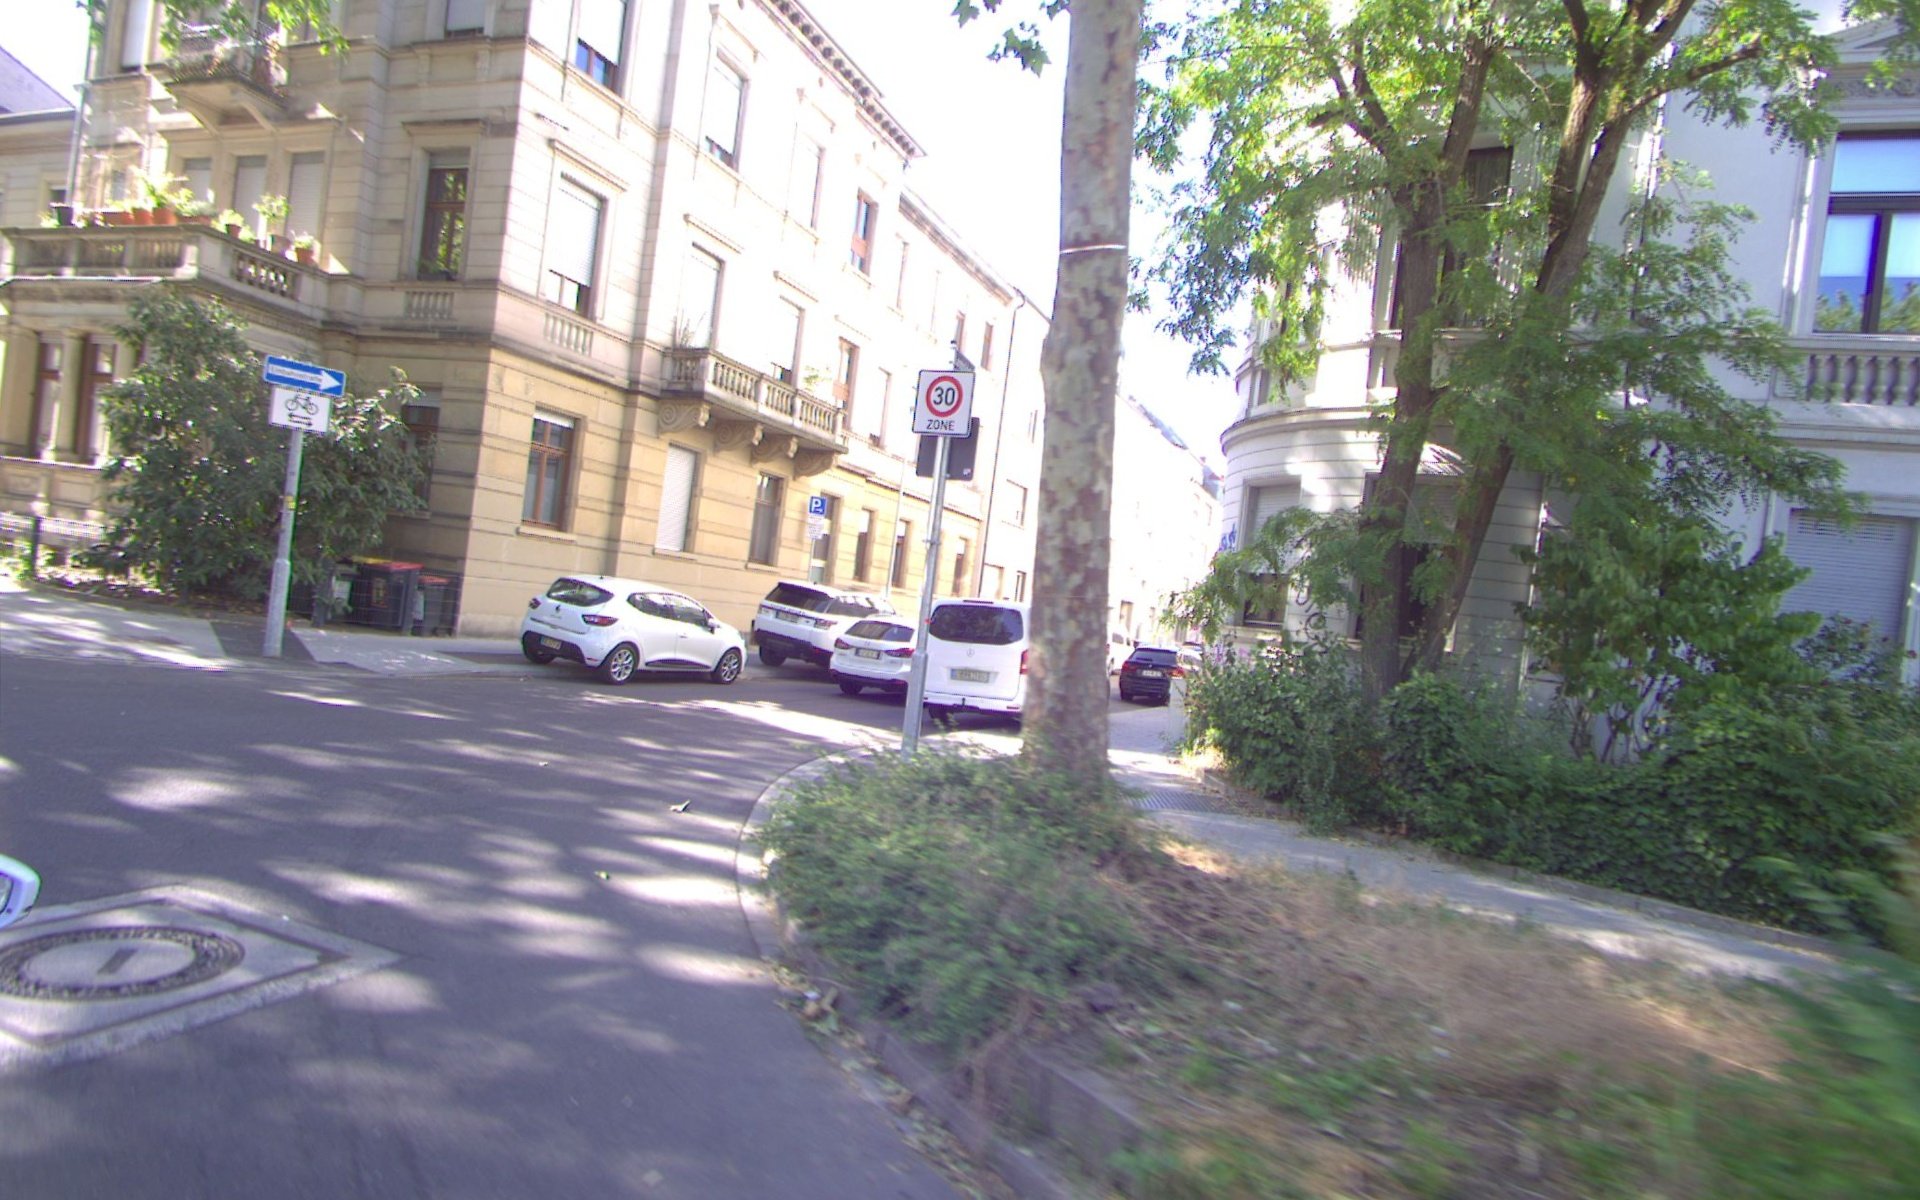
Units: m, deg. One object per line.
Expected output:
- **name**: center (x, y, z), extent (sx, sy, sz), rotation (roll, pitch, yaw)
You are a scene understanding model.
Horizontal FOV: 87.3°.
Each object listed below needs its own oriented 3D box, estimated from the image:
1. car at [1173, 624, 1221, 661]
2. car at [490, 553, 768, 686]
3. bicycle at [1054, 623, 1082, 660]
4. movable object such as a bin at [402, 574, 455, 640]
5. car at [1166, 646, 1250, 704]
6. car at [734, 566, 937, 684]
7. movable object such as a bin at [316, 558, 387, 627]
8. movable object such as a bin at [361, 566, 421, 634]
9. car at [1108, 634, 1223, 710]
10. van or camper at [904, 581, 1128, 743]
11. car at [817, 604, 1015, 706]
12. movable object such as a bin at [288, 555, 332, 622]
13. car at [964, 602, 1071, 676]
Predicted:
- **car**: center (13.931, 2.517, 58.956), extent (1.851, 1.777, 4.542), rotation (10, 1, 21)
- **car**: center (-5.012, 0.394, 15.814), extent (1.839, 1.579, 3.942), rotation (9, -1, 23)
- **bicycle**: center (4.722, 1.823, 44.002), extent (0.548, 1.527, 1.800), rotation (9, 0, 21)
- **movable object such as a bin**: center (-8.333, 0.114, 15.770), extent (0.391, 0.982, 0.520), rotation (7, 1, 24)
- **car**: center (7.944, 2.359, 31.977), extent (1.721, 1.466, 3.867), rotation (9, 1, 25)
- **car**: center (-2.474, 0.614, 21.305), extent (1.992, 2.038, 4.541), rotation (7, -1, 25)
- **movable object such as a bin**: center (-9.578, -0.107, 15.839), extent (0.538, 0.982, 0.689), rotation (7, 0, 24)
- **movable object such as a bin**: center (-8.957, -0.001, 15.847), extent (0.538, 0.982, 0.520), rotation (7, 1, 24)
- **car**: center (5.530, 1.868, 26.569), extent (1.788, 1.538, 4.724), rotation (9, 1, 25)
- **van or camper**: center (1.137, 0.983, 16.463), extent (1.865, 2.038, 5.029), rotation (7, 0, 23)
- **car**: center (-0.662, 1.009, 18.380), extent (1.807, 1.504, 4.053), rotation (5, -1, 26)
- **movable object such as a bin**: center (-10.204, -0.177, 15.802), extent (0.375, 0.982, 0.344), rotation (7, 1, 24)
- **car**: center (1.888, 1.253, 31.607), extent (1.719, 1.899, 4.087), rotation (11, 2, 25)
